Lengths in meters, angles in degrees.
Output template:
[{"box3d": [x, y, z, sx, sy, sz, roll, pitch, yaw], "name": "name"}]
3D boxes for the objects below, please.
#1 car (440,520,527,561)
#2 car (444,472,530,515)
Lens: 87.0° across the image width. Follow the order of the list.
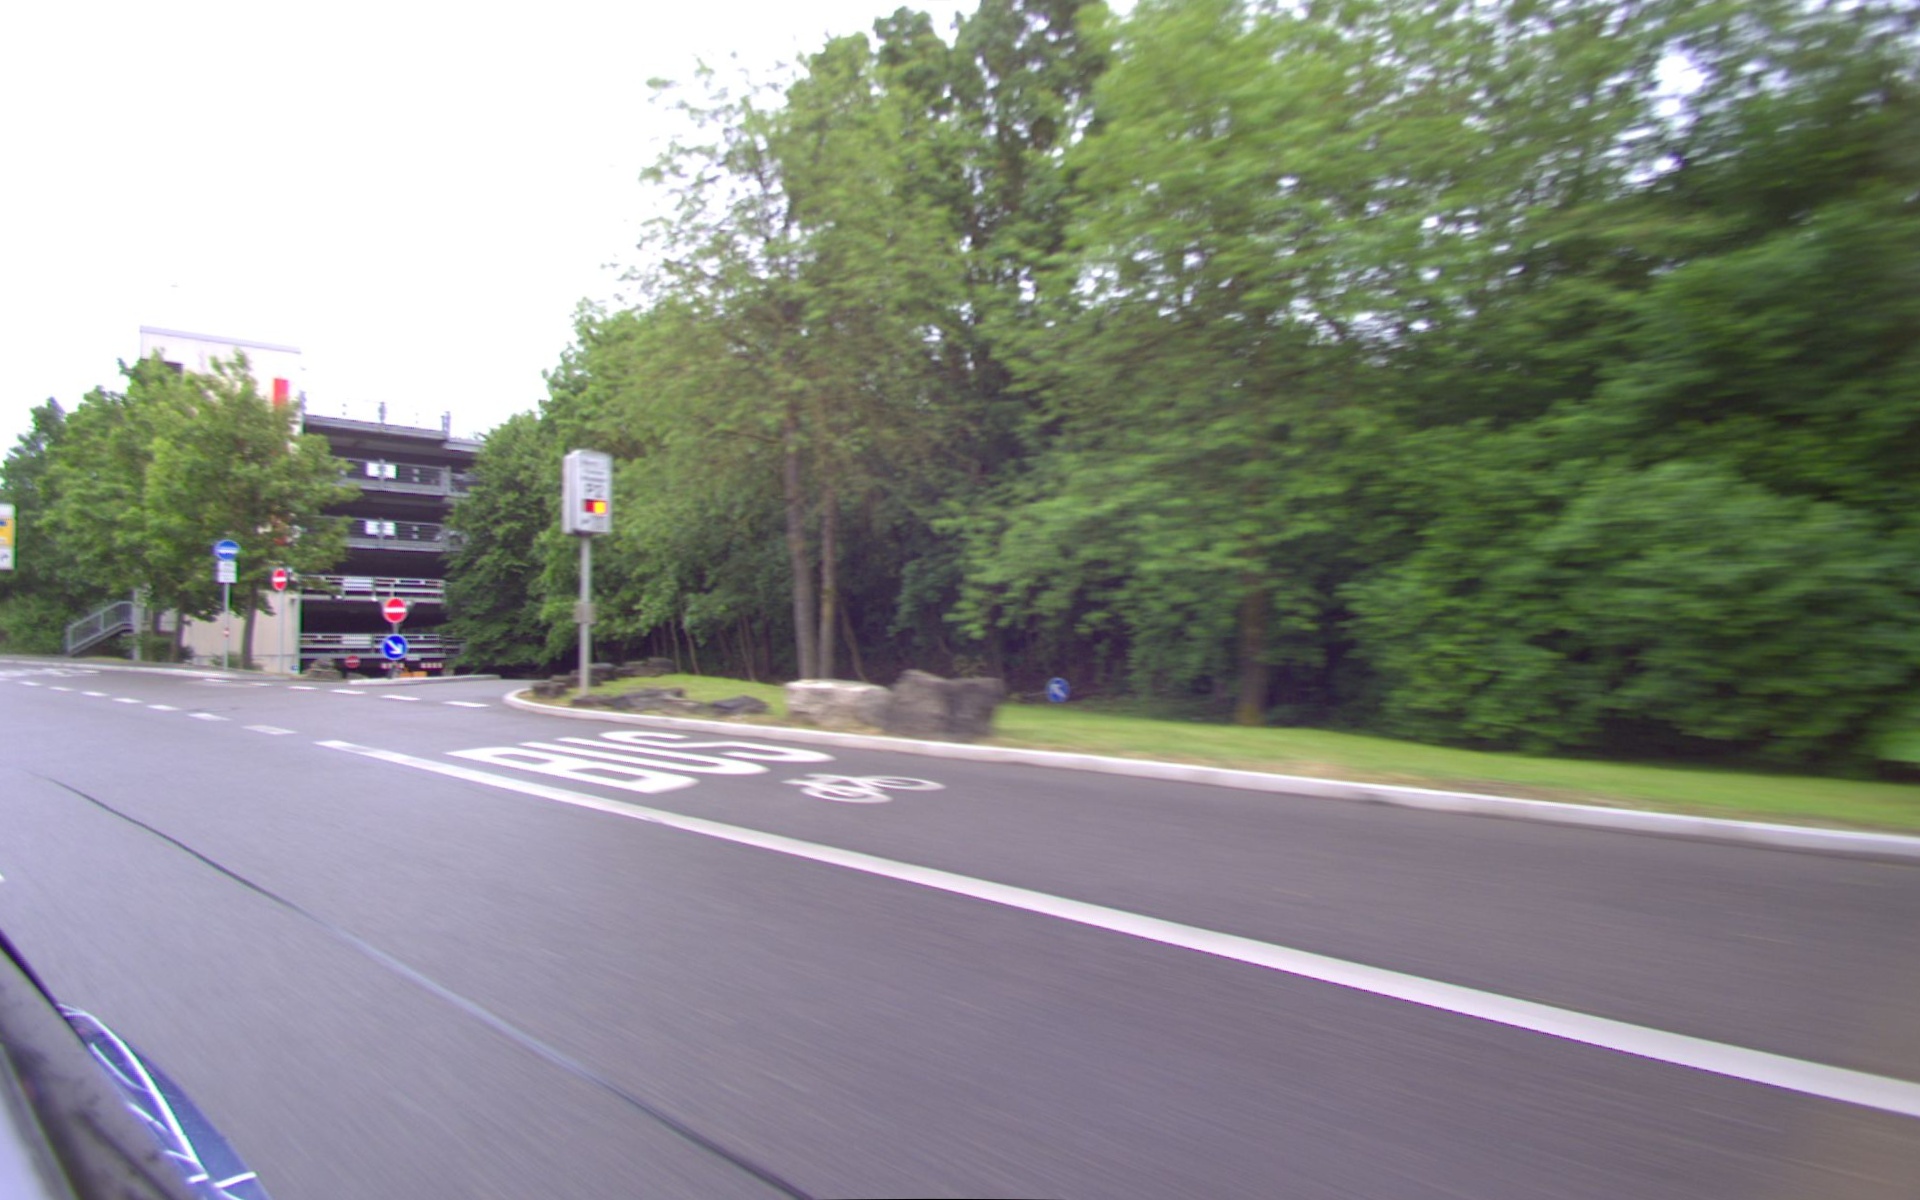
[{"box3d": [-26.103, -3.233, 55.491, 3.935, 1.785, 2.004, 2, -4, -38], "name": "car"}, {"box3d": [-25.886, -5.784, 55.402, 3.935, 1.785, 2.004, 2, -4, -38], "name": "car"}]
